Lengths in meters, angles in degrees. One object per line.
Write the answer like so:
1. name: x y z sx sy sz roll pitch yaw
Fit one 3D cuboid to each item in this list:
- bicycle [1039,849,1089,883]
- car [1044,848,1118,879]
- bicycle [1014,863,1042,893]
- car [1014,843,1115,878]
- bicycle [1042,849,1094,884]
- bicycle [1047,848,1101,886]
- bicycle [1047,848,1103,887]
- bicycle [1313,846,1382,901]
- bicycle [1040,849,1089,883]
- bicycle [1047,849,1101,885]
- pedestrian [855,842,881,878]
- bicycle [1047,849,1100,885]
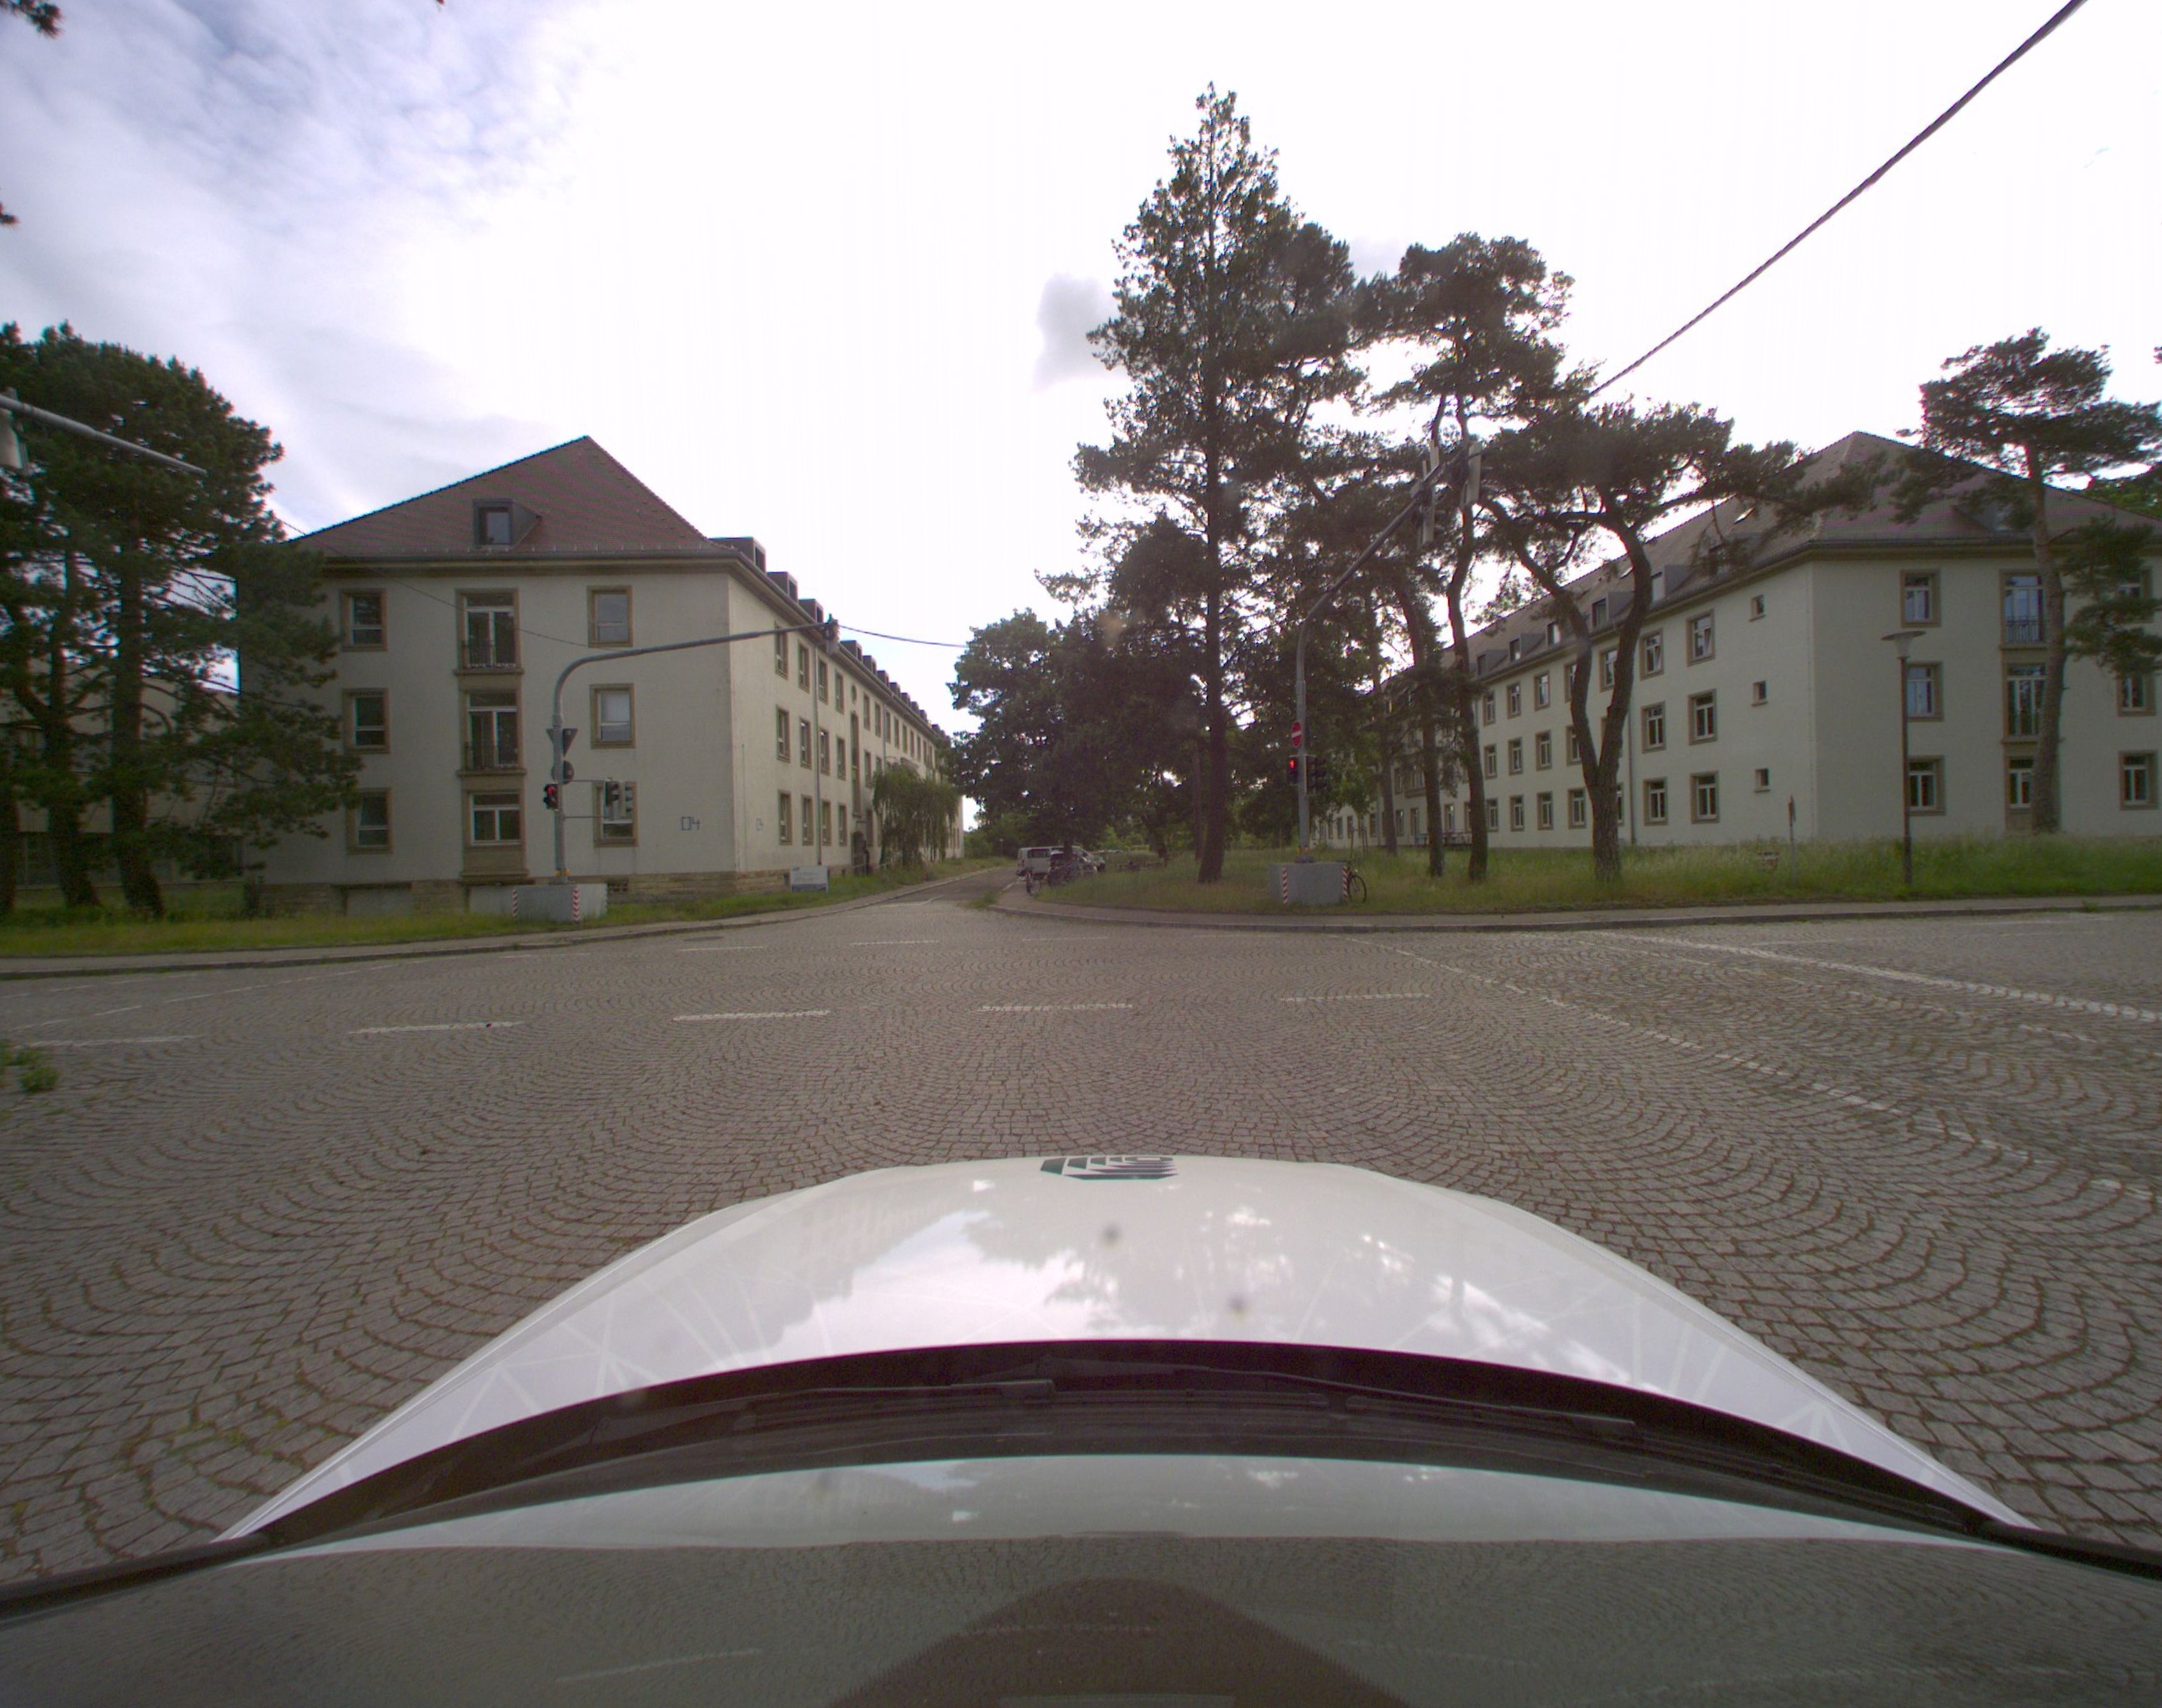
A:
1. bicycle: -0.698 0.510 34.420 2.063 1.378 0.620 -2 0 -1
2. car: -0.056 0.500 45.328 3.927 1.544 1.996 -2 0 -6
3. bicycle: -1.863 0.831 28.963 0.615 0.963 2.080 -2 0 6
4. car: -1.014 0.362 48.671 5.699 1.910 2.220 -2 0 -14
5. bicycle: -0.533 0.507 33.686 2.063 1.378 0.620 -2 0 -1
6. bicycle: -0.270 0.505 31.474 2.063 1.378 0.620 -2 0 -1
7. bicycle: -0.213 0.504 30.805 2.063 1.378 0.620 -2 0 -1
8. bicycle: 6.082 0.425 18.709 0.906 1.177 1.873 -2 0 -2
9. bicycle: -0.698 0.512 35.167 2.063 1.378 0.620 -2 0 -1
10. bicycle: -0.285 0.506 32.098 2.063 1.378 0.620 -2 0 -1
11. pedestrian: -12.026 0.338 45.958 1.082 2.013 1.023 -2 0 4
12. bicycle: -0.292 0.508 32.895 2.063 1.378 0.620 -2 0 -1
